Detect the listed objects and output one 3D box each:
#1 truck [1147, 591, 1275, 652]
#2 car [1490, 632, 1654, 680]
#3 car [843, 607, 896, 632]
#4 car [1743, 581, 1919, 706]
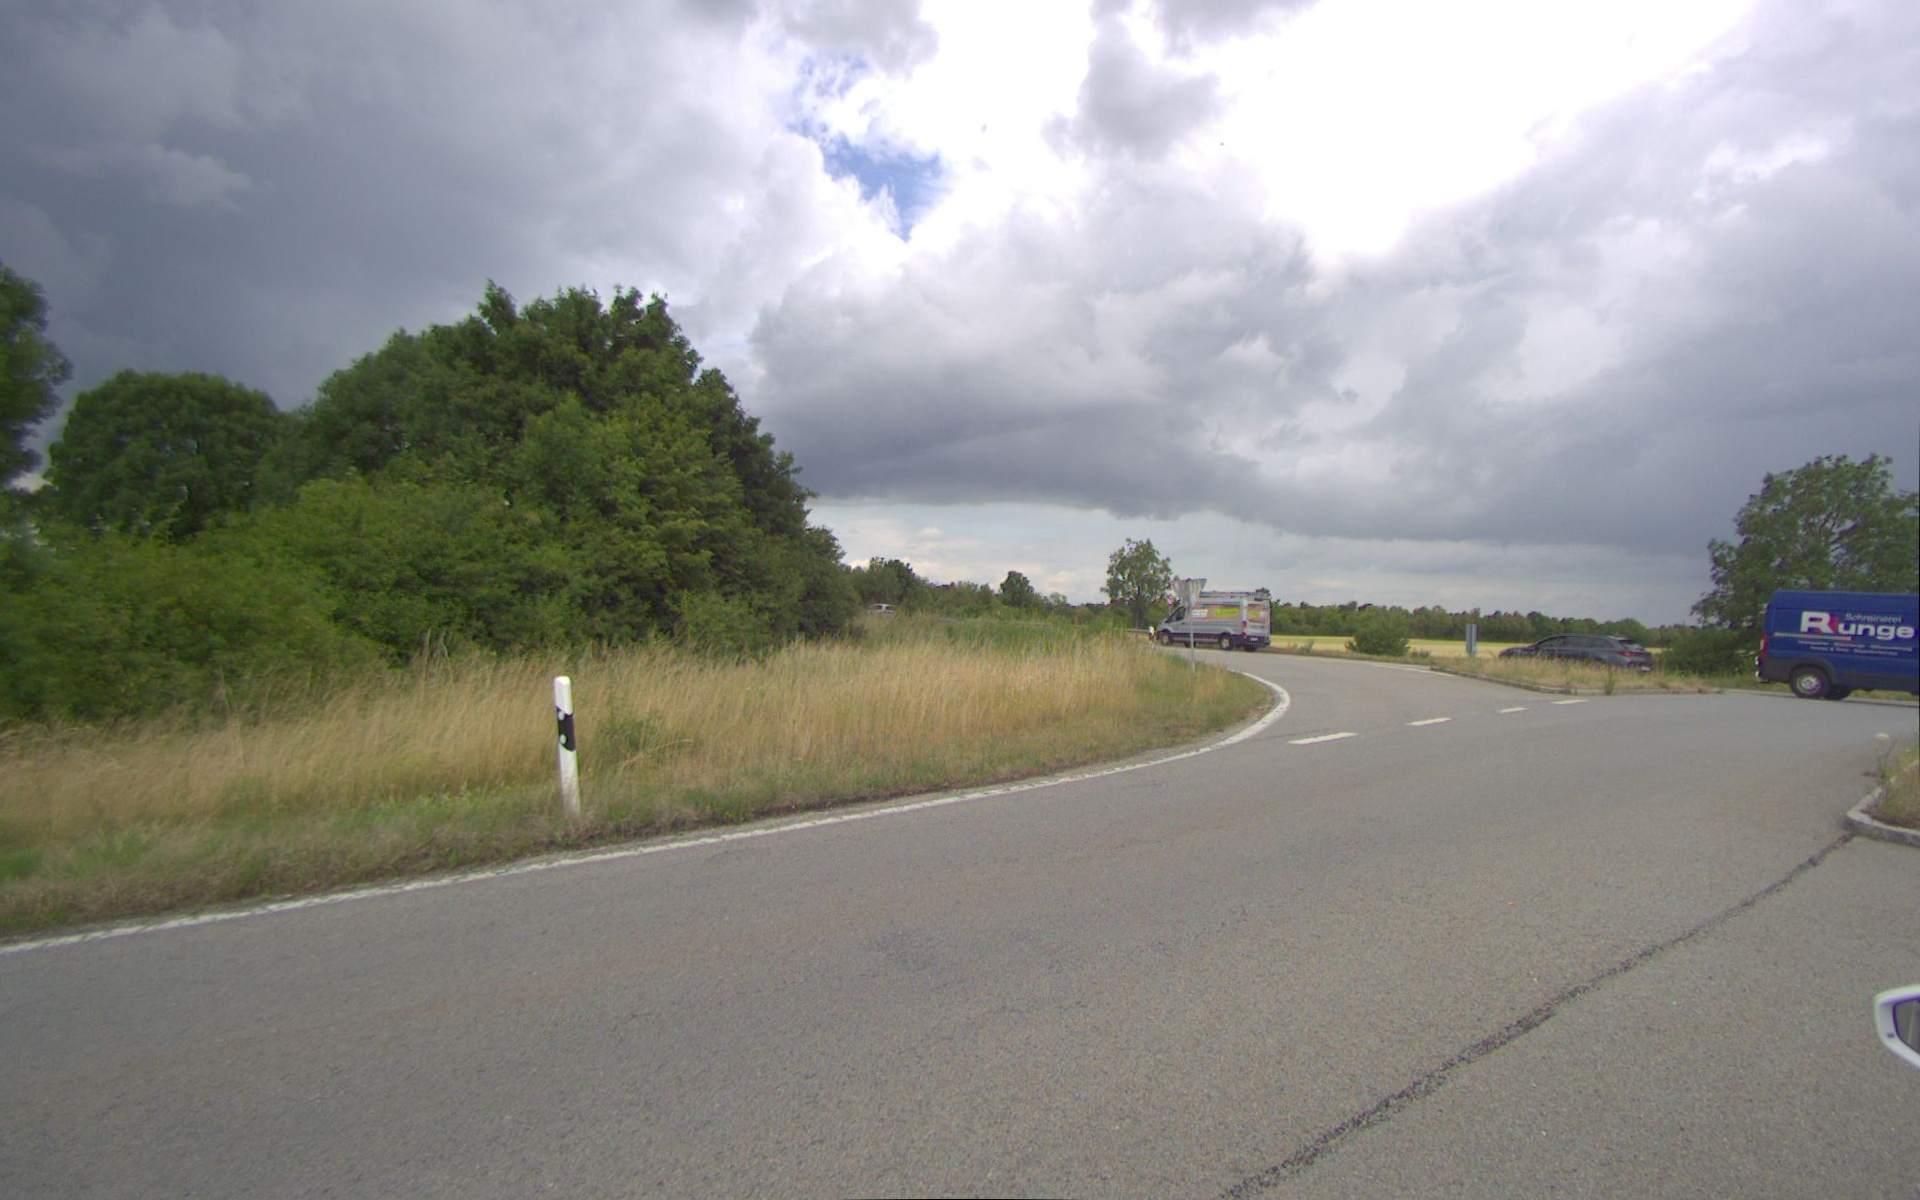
[{"bbox_3d":[11.944,0.999,48.197,2.047,2.739,5.980,1,-1,-37],"label":"truck"},{"bbox_3d":[20.045,1.780,33.052,1.665,1.362,4.313,2,-1,-35],"label":"car"},{"bbox_3d":[-6.595,1.399,72.890,1.983,1.684,3.955,1,-1,-39],"label":"car"},{"bbox_3d":[21.332,0.959,22.592,2.129,2.674,5.512,1,-1,-37],"label":"car"}]
